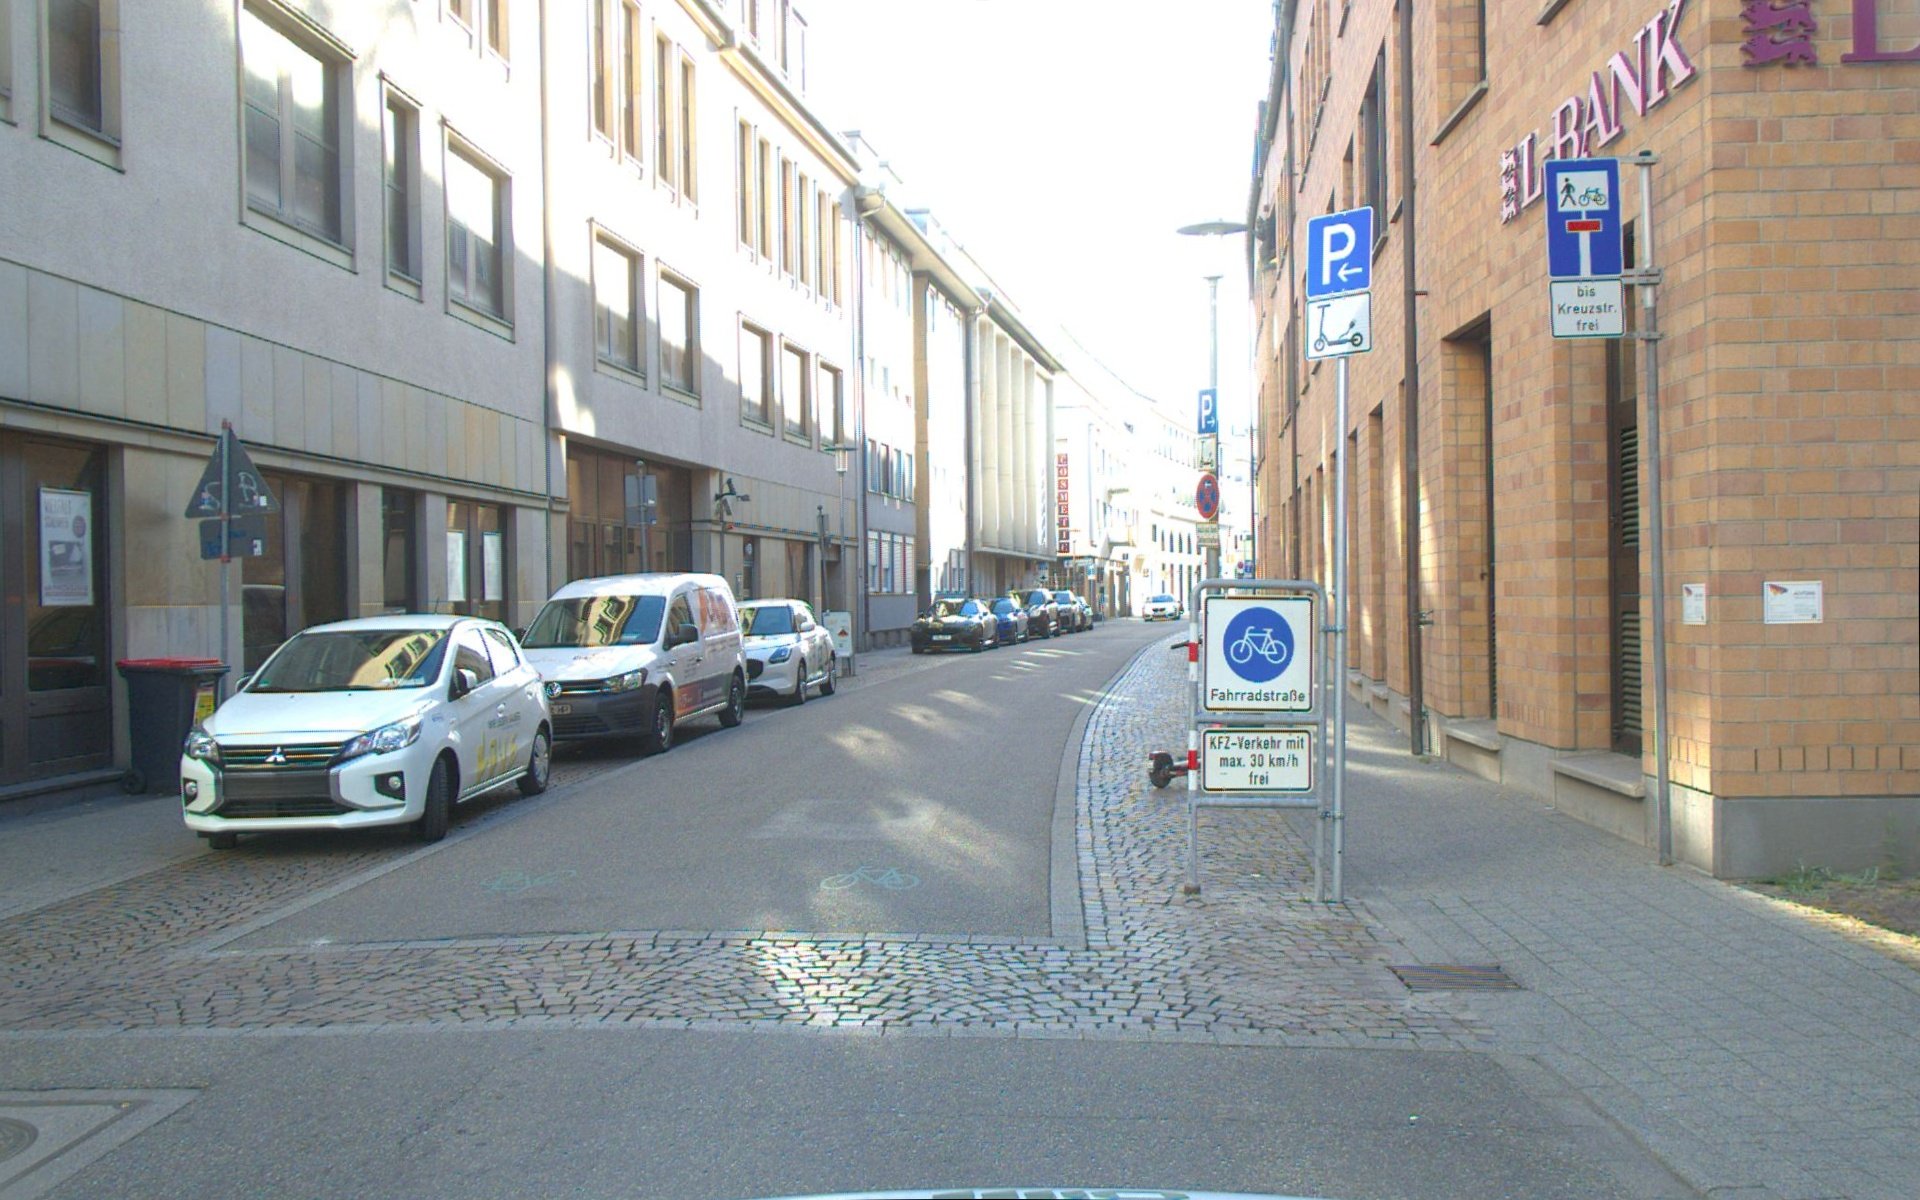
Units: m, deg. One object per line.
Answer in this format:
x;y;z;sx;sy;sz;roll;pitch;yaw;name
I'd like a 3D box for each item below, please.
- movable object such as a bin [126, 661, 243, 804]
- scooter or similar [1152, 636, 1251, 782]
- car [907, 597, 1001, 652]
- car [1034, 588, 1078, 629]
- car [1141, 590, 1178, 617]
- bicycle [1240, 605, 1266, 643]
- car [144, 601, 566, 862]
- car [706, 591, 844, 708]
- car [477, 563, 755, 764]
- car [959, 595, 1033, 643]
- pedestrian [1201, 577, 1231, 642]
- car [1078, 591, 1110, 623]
-6.233;1.051;13.322;0.596;1.079;0.713;1;0;-3;movable object such as a bin
1.983;0.890;13.600;0.754;1.156;0.269;1;-1;2;scooter or similar
-0.116;0.631;44.645;1.841;1.355;4.104;-1;0;10;car
3.762;0.301;64.338;1.310;1.520;3.513;-1;0;10;car
10.847;0.192;89.733;1.653;1.394;3.621;-1;0;12;car
8.045;0.644;45.472;0.500;1.011;2.650;-1;0;6;bicycle
-4.217;0.818;12.186;1.636;1.533;3.794;-2;0;0;car
-2.648;0.674;24.248;1.244;1.533;3.404;-2;0;6;car
-3.569;0.592;18.056;1.635;1.850;4.555;-2;0;5;car
1.146;0.561;51.190;1.687;1.364;4.004;-1;0;10;car
7.071;0.268;45.649;0.651;1.761;0.840;1;-1;-1;pedestrian
6.626;0.340;81.608;1.310;1.520;3.350;-1;0;10;car
